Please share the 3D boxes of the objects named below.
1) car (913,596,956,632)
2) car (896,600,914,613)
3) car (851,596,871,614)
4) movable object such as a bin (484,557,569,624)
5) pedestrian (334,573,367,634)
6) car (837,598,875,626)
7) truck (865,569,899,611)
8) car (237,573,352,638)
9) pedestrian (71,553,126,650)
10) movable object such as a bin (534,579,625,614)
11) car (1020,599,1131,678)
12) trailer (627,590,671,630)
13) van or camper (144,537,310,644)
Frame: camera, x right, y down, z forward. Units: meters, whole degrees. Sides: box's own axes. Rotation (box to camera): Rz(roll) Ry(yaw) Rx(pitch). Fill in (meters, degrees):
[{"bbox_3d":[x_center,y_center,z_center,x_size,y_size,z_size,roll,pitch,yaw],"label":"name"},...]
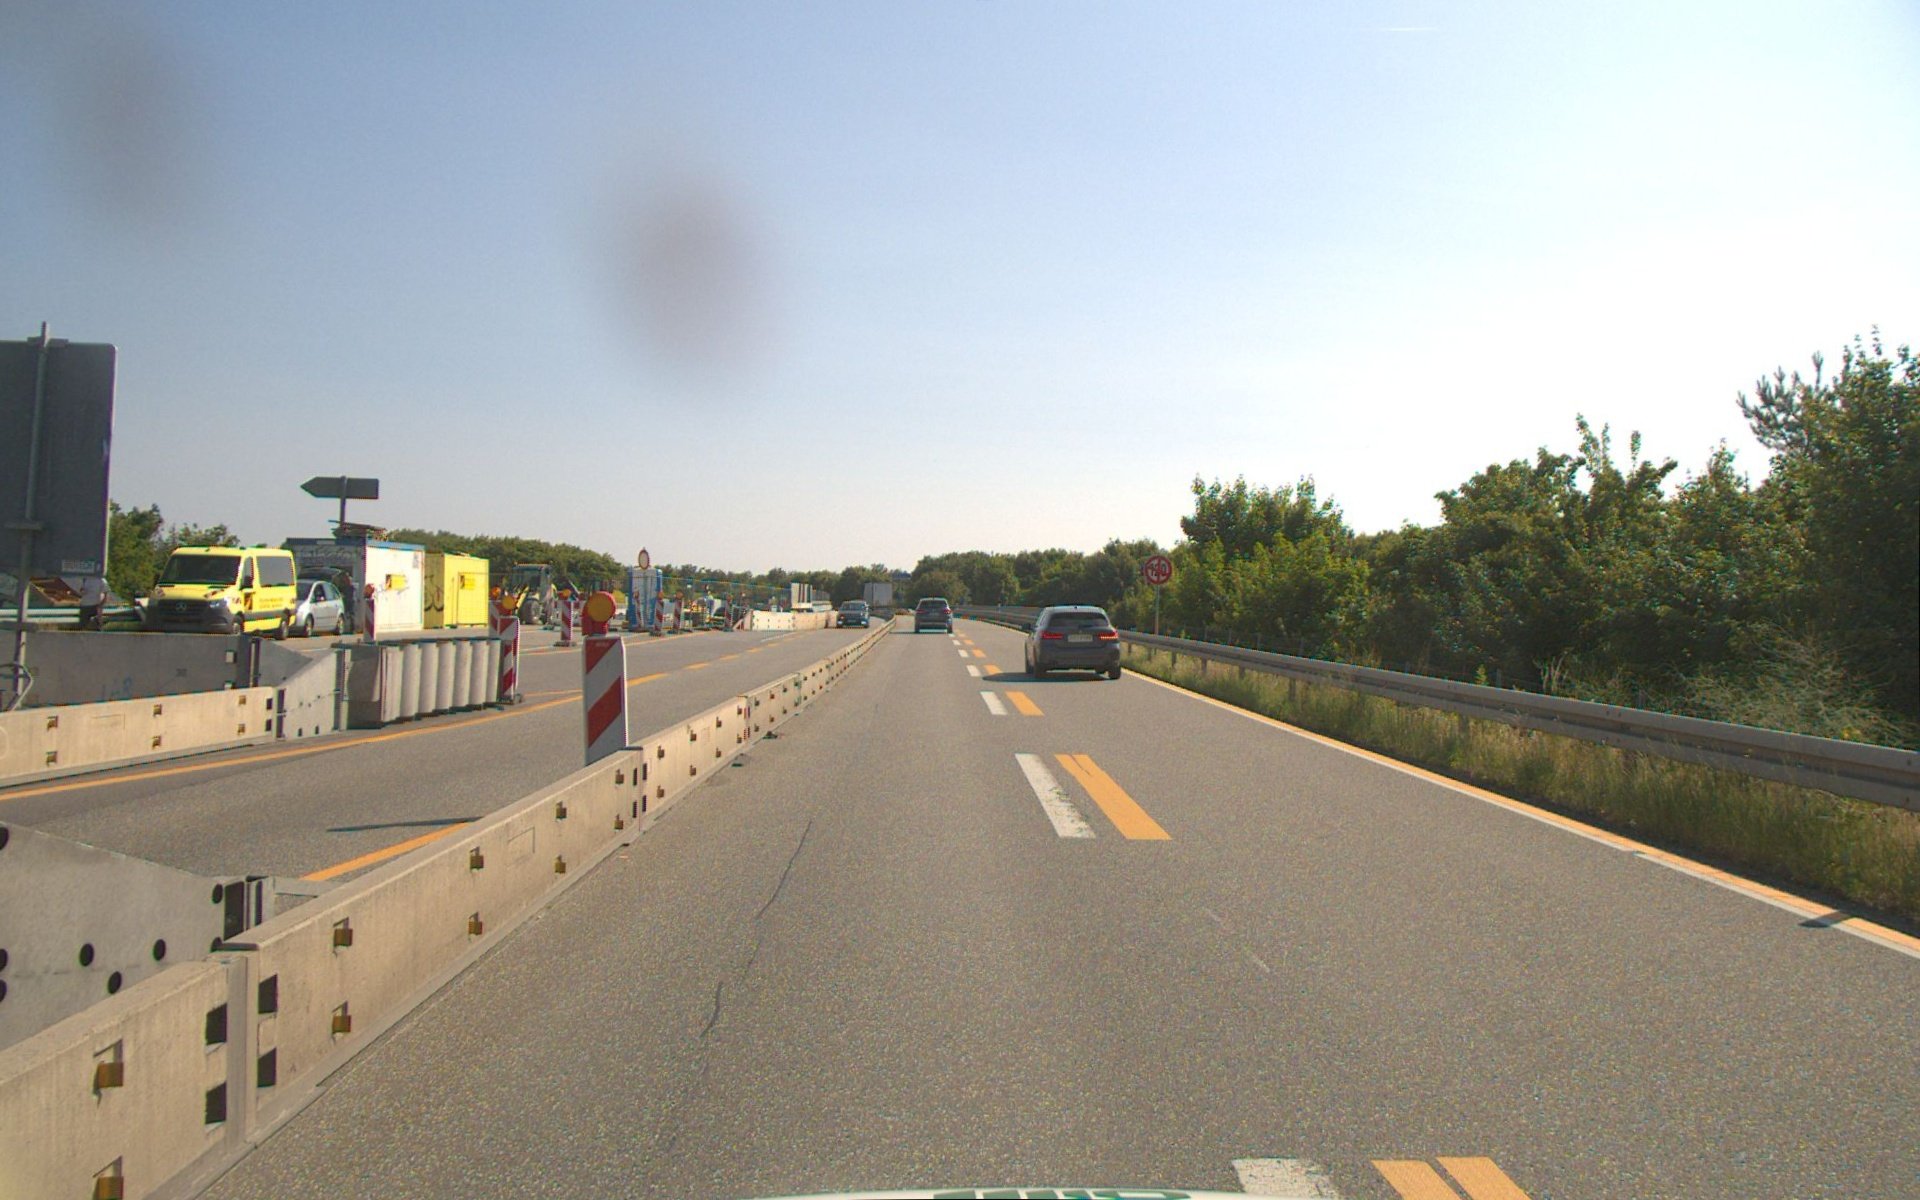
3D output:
[{"bbox_3d":[-1.161,0.631,77.214,1.953,1.594,4.000,0,0,0],"label":"car"},{"bbox_3d":[-7.111,0.841,214.231,1.956,1.717,3.992,1,0,-8],"label":"car"},{"bbox_3d":[-9.880,0.504,164.783,1.943,1.680,4.545,1,0,-4],"label":"car"},{"bbox_3d":[-18.637,-0.410,71.340,1.988,2.763,5.110,0,0,4],"label":"movable object such as a bin"},{"bbox_3d":[-18.287,0.099,49.641,0.708,1.792,0.720,1,0,-2],"label":"pedestrian"},{"bbox_3d":[-5.785,0.639,92.284,1.821,1.499,4.684,1,0,0],"label":"car"},{"bbox_3d":[-9.977,-1.279,210.601,3.687,4.997,14.122,1,0,-5],"label":"truck"},{"bbox_3d":[-18.635,0.146,46.513,1.654,1.715,4.455,1,0,-4],"label":"car"},{"bbox_3d":[-16.881,0.029,32.423,0.728,1.852,0.795,1,0,-12],"label":"pedestrian"},{"bbox_3d":[-24.351,-0.240,105.763,5.279,2.153,2.239,0,0,18],"label":"movable object such as a bin"},{"bbox_3d":[2.338,0.753,34.412,1.882,1.520,3.998,1,0,-2],"label":"car"},{"bbox_3d":[-13.852,0.437,73.810,1.687,1.677,3.528,2,0,-7],"label":"trailer"},{"bbox_3d":[-18.146,-0.222,41.311,1.955,2.419,6.192,1,0,-6],"label":"van or camper"}]
